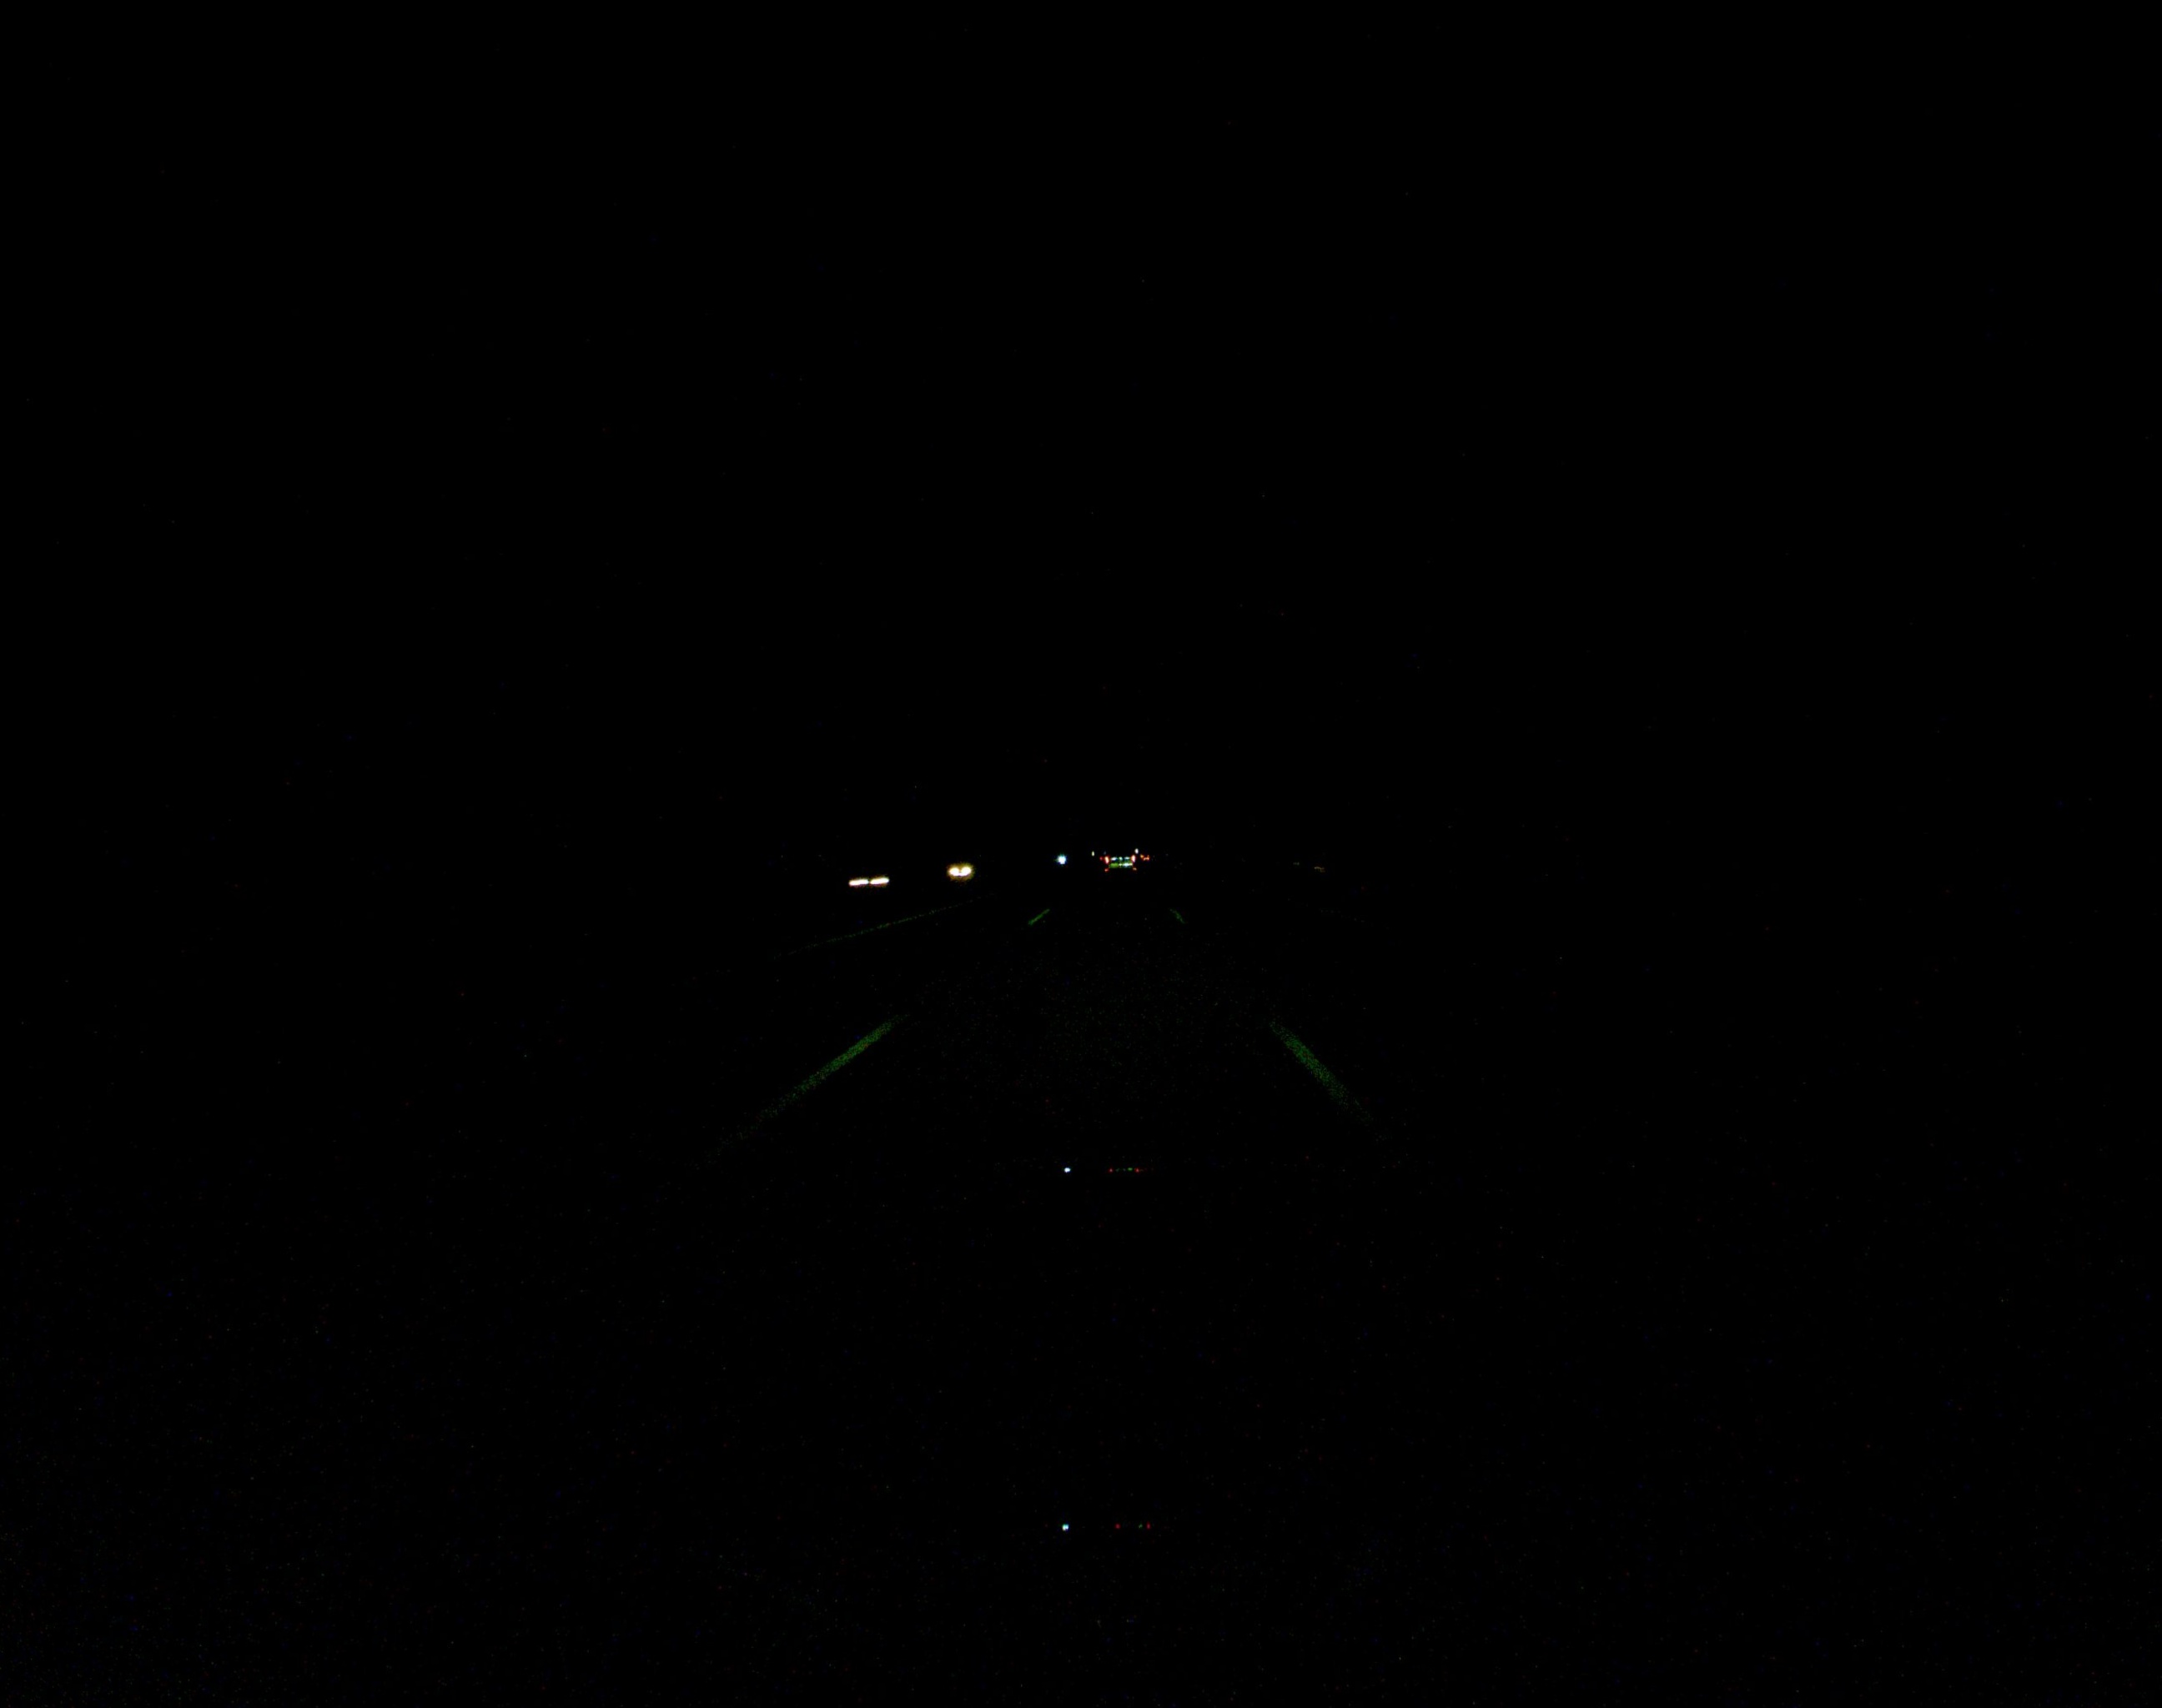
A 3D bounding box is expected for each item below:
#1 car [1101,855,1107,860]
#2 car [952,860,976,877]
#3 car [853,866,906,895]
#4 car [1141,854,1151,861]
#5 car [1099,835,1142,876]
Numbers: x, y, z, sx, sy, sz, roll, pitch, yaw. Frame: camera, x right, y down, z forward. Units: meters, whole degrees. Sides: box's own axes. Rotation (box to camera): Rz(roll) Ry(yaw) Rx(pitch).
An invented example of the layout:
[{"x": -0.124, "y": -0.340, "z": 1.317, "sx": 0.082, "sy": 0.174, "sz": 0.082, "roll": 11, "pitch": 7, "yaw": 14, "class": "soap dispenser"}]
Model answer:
[{"x": 7.136, "y": 1.080, "z": 254.015, "sx": 1.836, "sy": 1.640, "sz": 4.002, "roll": -2, "pitch": 0, "yaw": 2, "class": "car"}, {"x": -14.462, "y": 1.805, "z": 100.847, "sx": 2.020, "sy": 1.968, "sz": 5.399, "roll": -2, "pitch": 0, "yaw": 2, "class": "car"}, {"x": -12.913, "y": 1.671, "z": 52.469, "sx": 1.925, "sy": 1.604, "sz": 4.956, "roll": -2, "pitch": 0, "yaw": 2, "class": "car"}, {"x": 14.308, "y": 0.762, "z": 179.061, "sx": 1.836, "sy": 1.640, "sz": 4.002, "roll": -2, "pitch": 0, "yaw": 2, "class": "car"}, {"x": 2.785, "y": 0.118, "z": 57.596, "sx": 2.775, "sy": 2.733, "sz": 6.302, "roll": -1, "pitch": 0, "yaw": 2, "class": "car"}]
